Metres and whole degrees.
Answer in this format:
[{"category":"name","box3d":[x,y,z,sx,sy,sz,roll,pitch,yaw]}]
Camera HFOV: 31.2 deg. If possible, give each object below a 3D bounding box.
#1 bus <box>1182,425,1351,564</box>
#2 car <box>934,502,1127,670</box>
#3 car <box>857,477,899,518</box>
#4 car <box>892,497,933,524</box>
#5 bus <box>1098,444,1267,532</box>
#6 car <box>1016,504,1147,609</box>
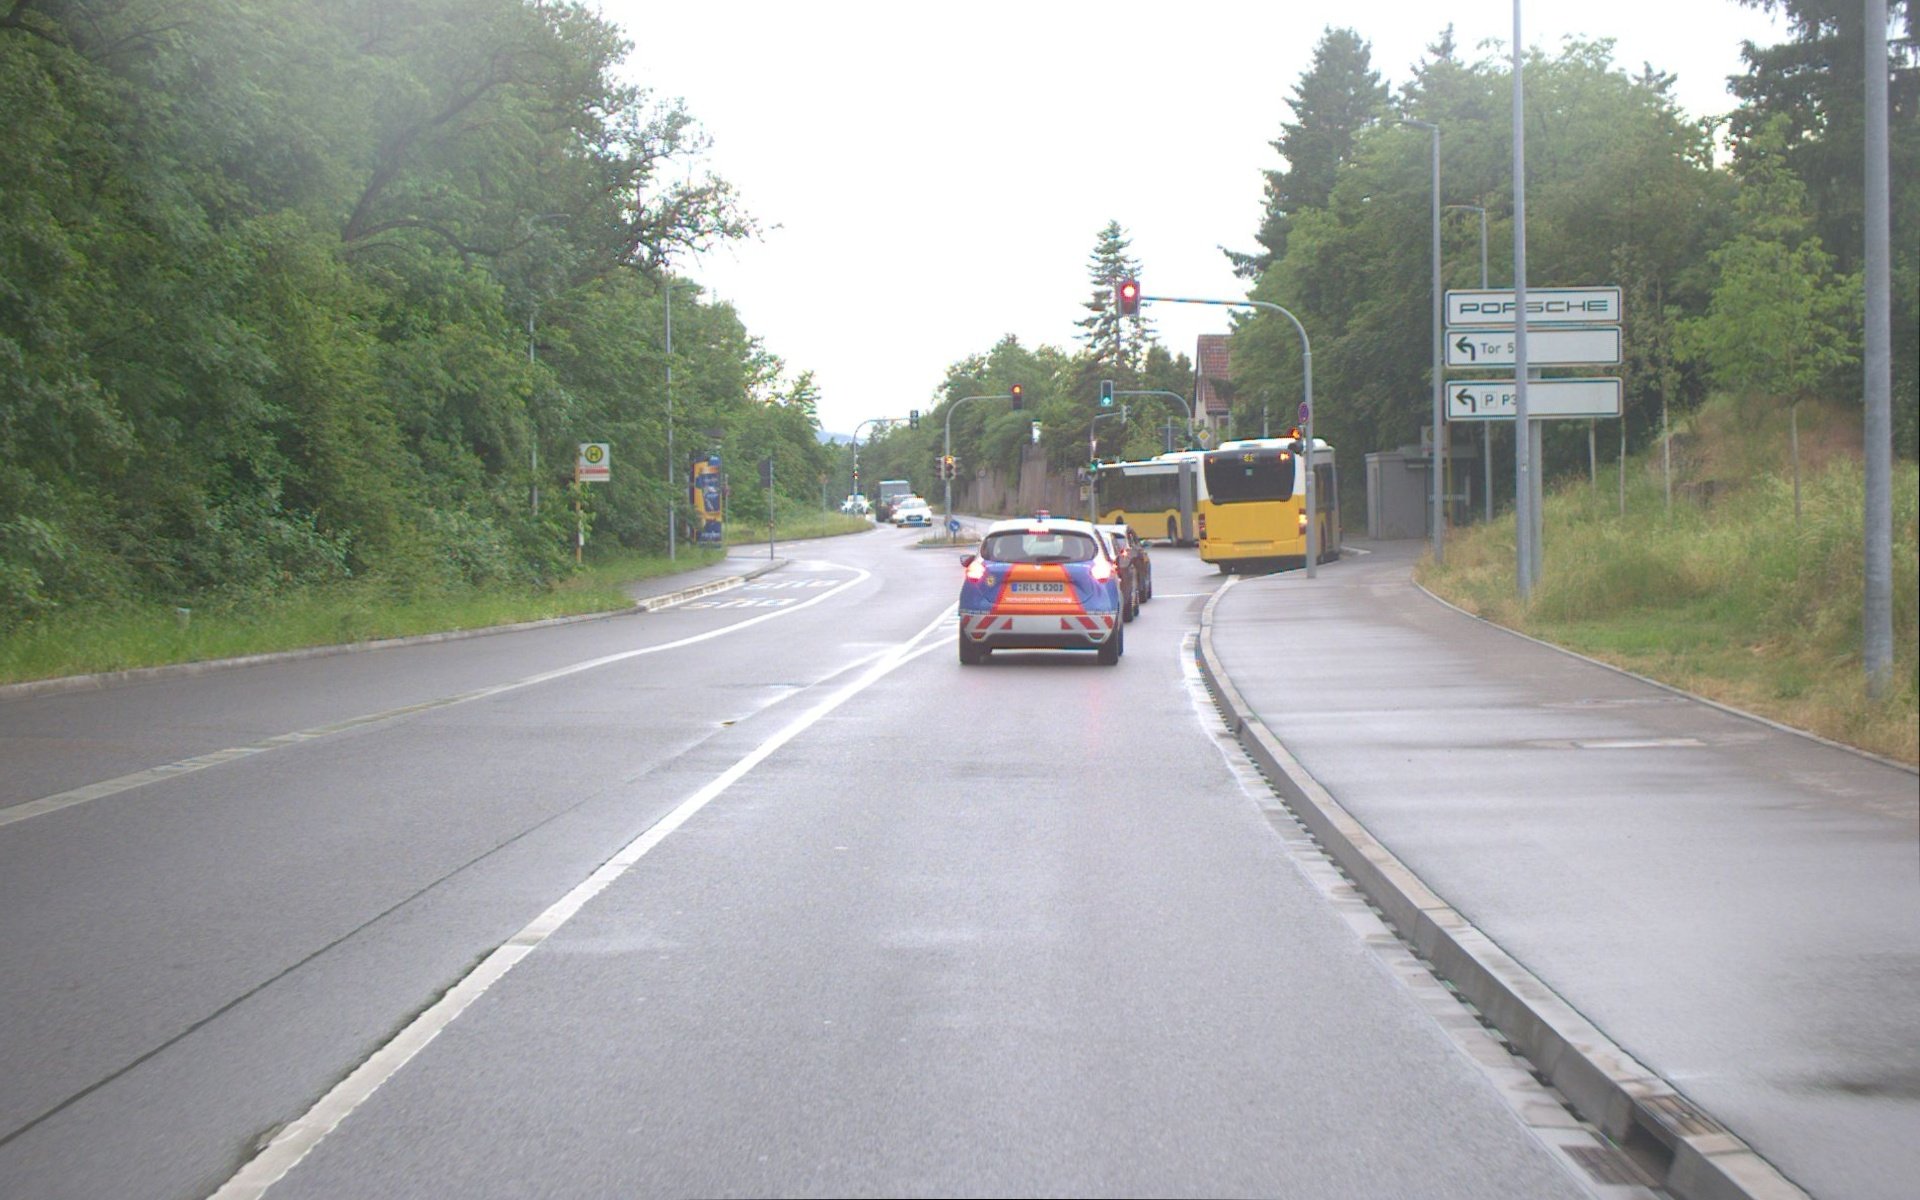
[{"category":"bus","box3d":[7.464,-2.466,82.555,2.818,3.132,9.175,1,1,13]},{"category":"car","box3d":[0.772,-0.203,38.131,1.993,1.683,4.000,-1,2,1]},{"category":"car","box3d":[-4.974,-6.162,207.420,2.269,2.327,5.590,1,1,-4]},{"category":"car","box3d":[-2.536,-4.759,183.141,1.993,1.415,4.001,1,1,-4]},{"category":"bus","box3d":[7.405,-3.705,116.331,2.816,2.796,10.643,0,1,-13]},{"category":"car","box3d":[1.847,-0.699,53.081,1.927,1.481,3.800,-1,2,1]}]
